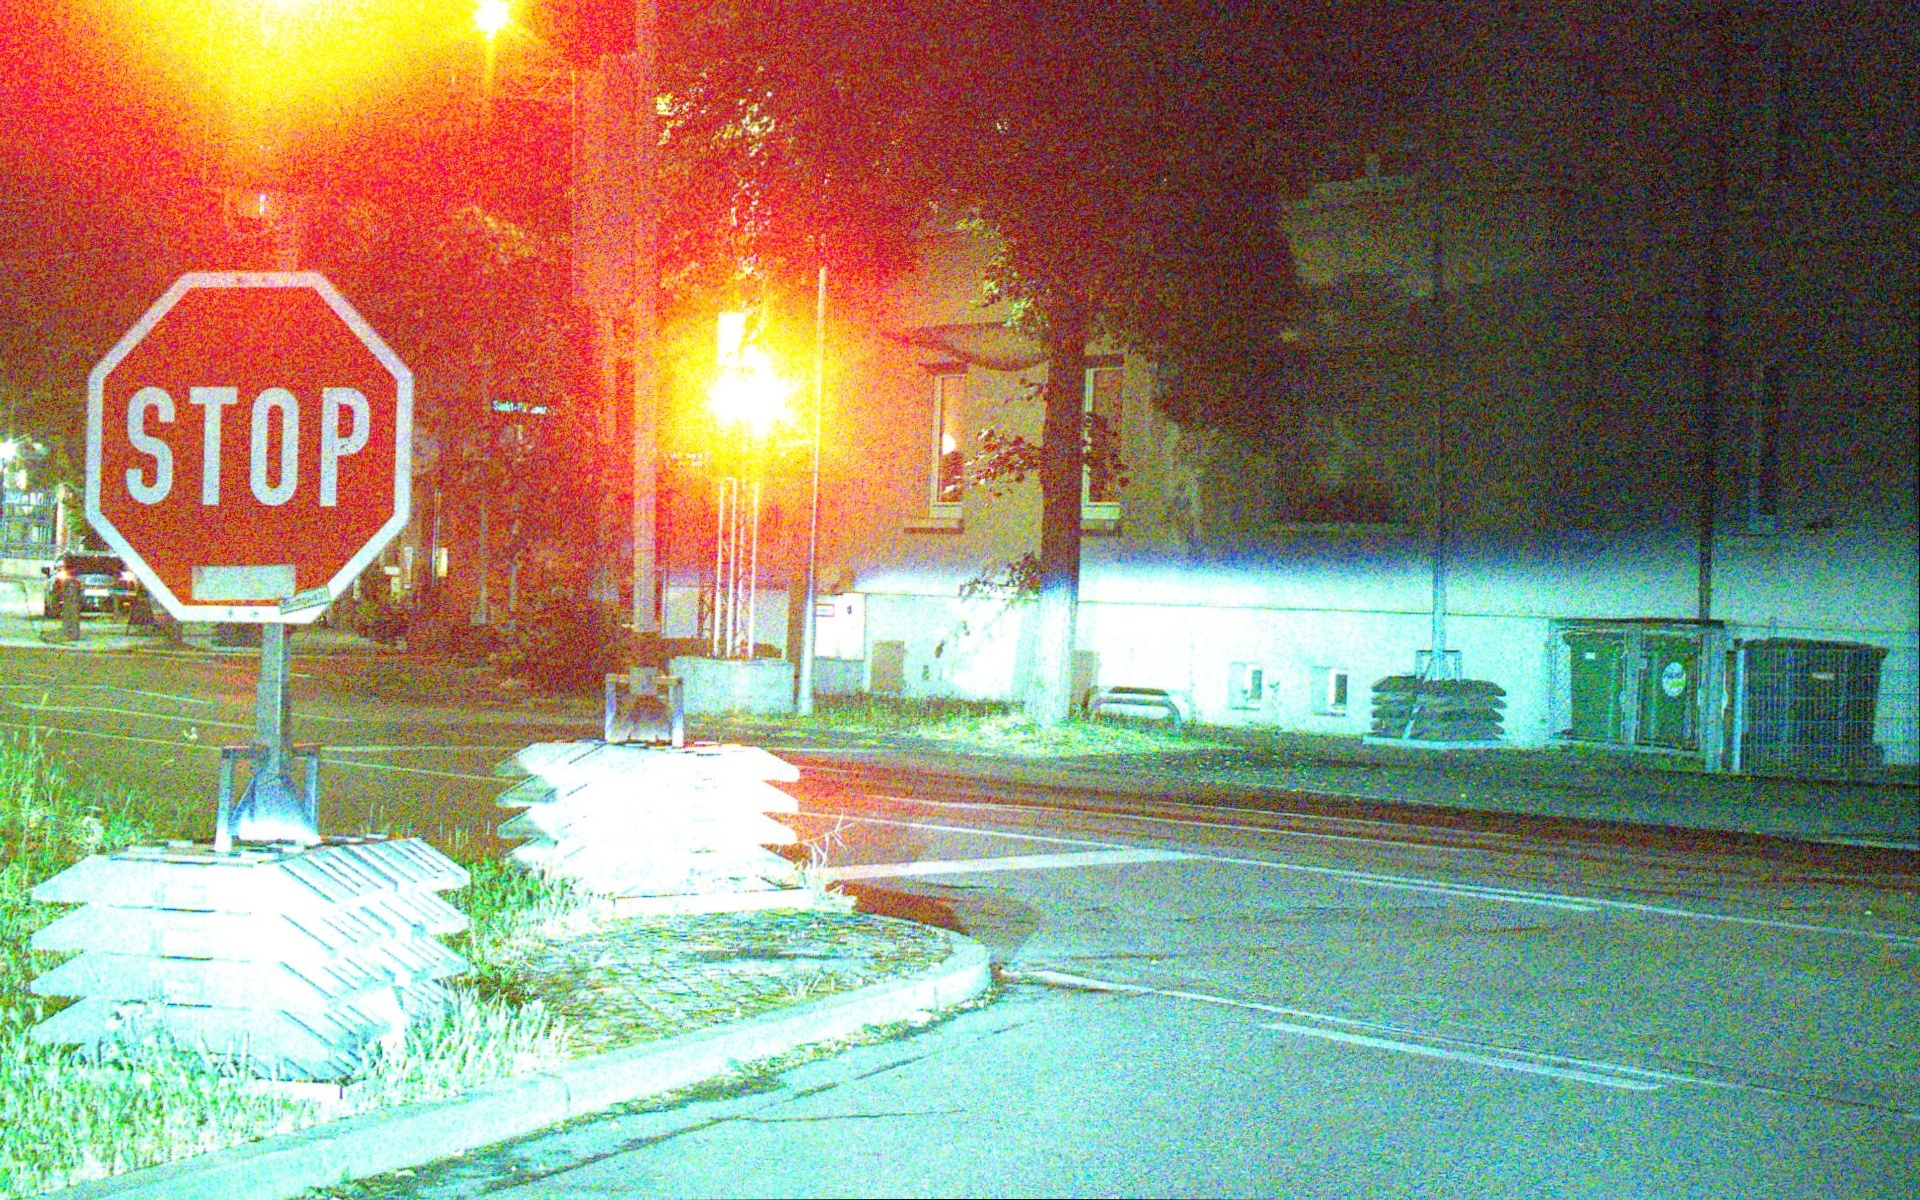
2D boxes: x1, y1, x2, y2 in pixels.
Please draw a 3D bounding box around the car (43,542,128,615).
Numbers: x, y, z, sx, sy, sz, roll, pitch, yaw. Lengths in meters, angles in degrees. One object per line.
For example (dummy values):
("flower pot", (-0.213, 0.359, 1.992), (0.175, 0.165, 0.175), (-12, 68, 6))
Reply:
("car", (-18.272, -0.472, 71.896), (1.651, 1.426, 4.001), (2, 1, -14))
